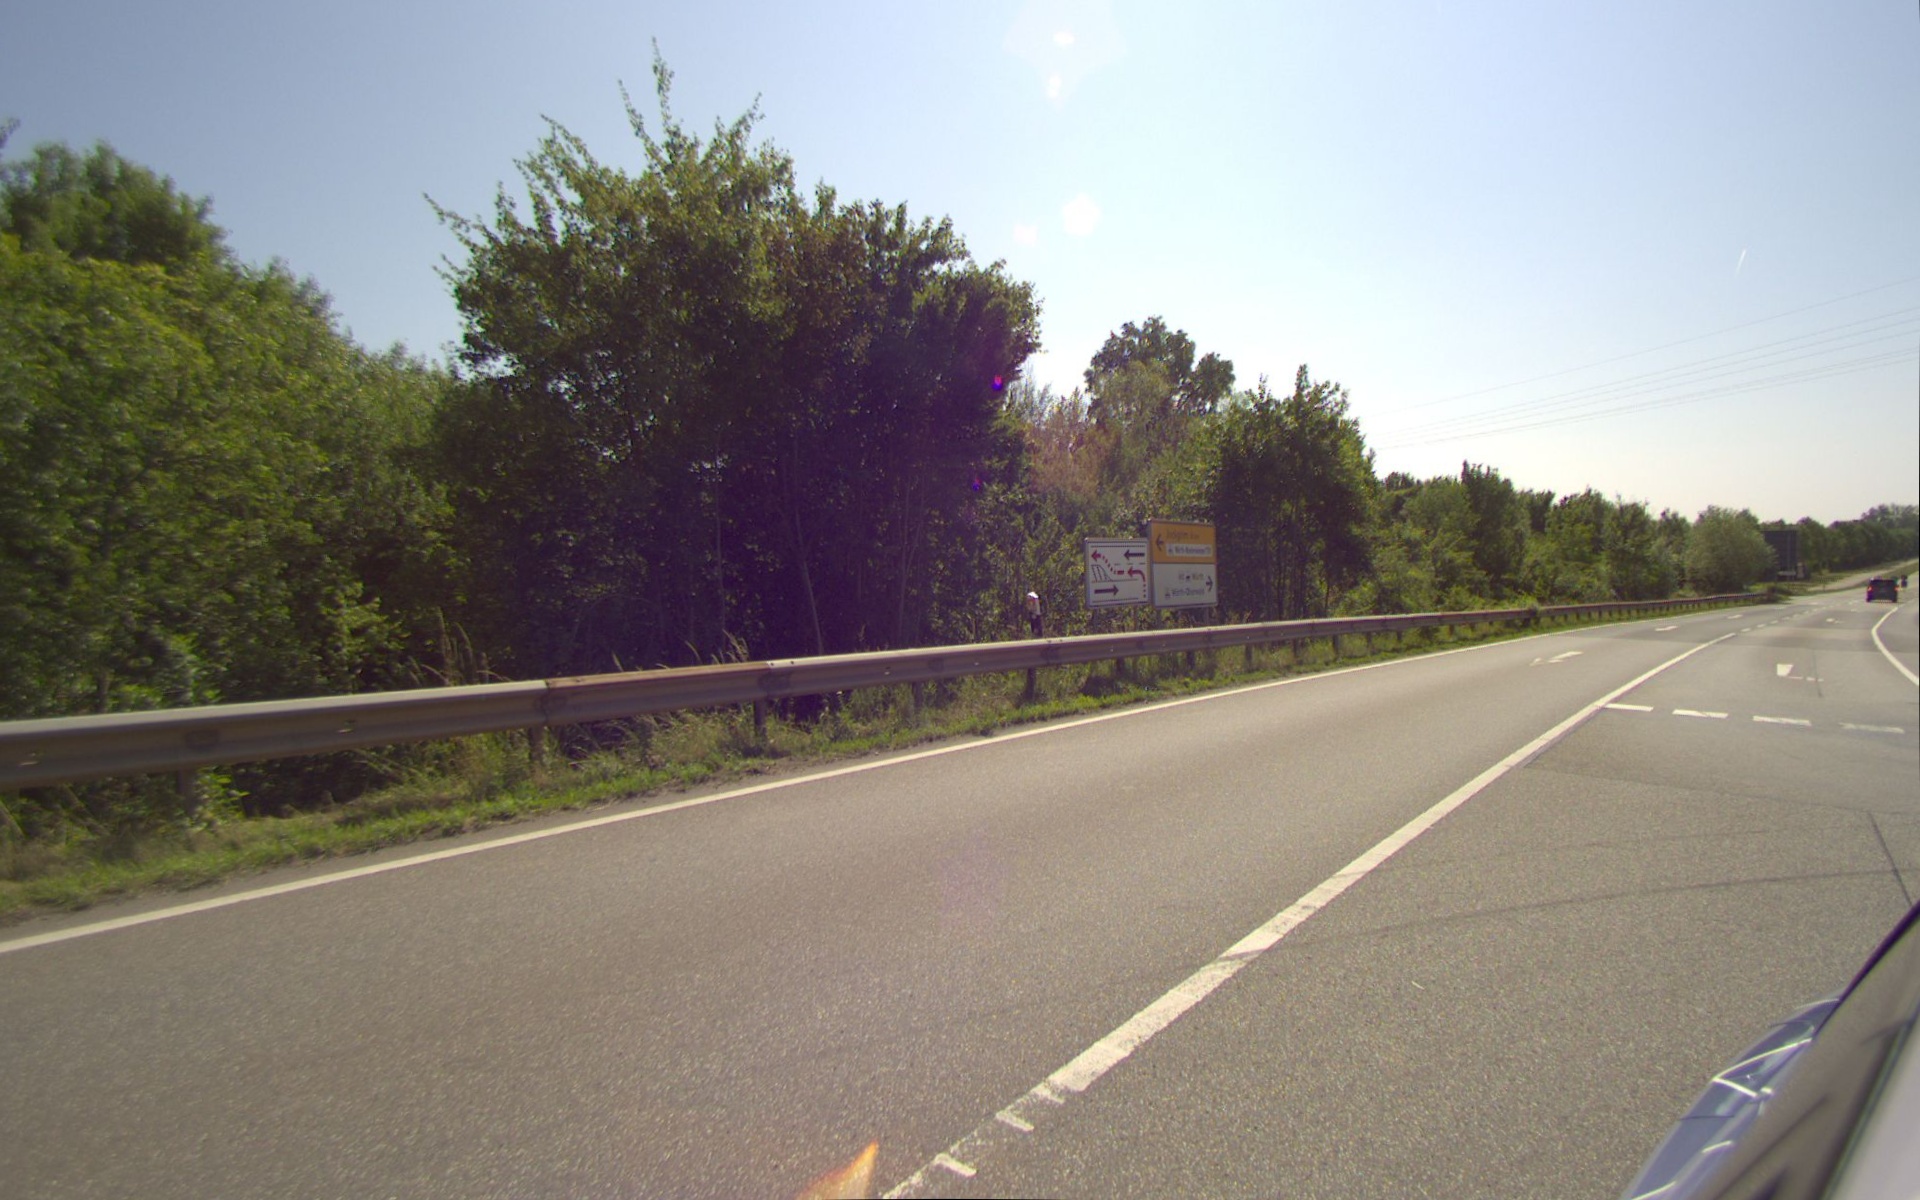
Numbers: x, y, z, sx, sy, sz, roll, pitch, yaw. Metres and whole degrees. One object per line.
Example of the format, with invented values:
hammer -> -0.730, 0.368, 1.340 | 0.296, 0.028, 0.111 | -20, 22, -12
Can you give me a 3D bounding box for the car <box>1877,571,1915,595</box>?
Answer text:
car -> 75.456, -1.342, 81.545 | 4.911, 1.903, 1.995 | 0, 1, -44
